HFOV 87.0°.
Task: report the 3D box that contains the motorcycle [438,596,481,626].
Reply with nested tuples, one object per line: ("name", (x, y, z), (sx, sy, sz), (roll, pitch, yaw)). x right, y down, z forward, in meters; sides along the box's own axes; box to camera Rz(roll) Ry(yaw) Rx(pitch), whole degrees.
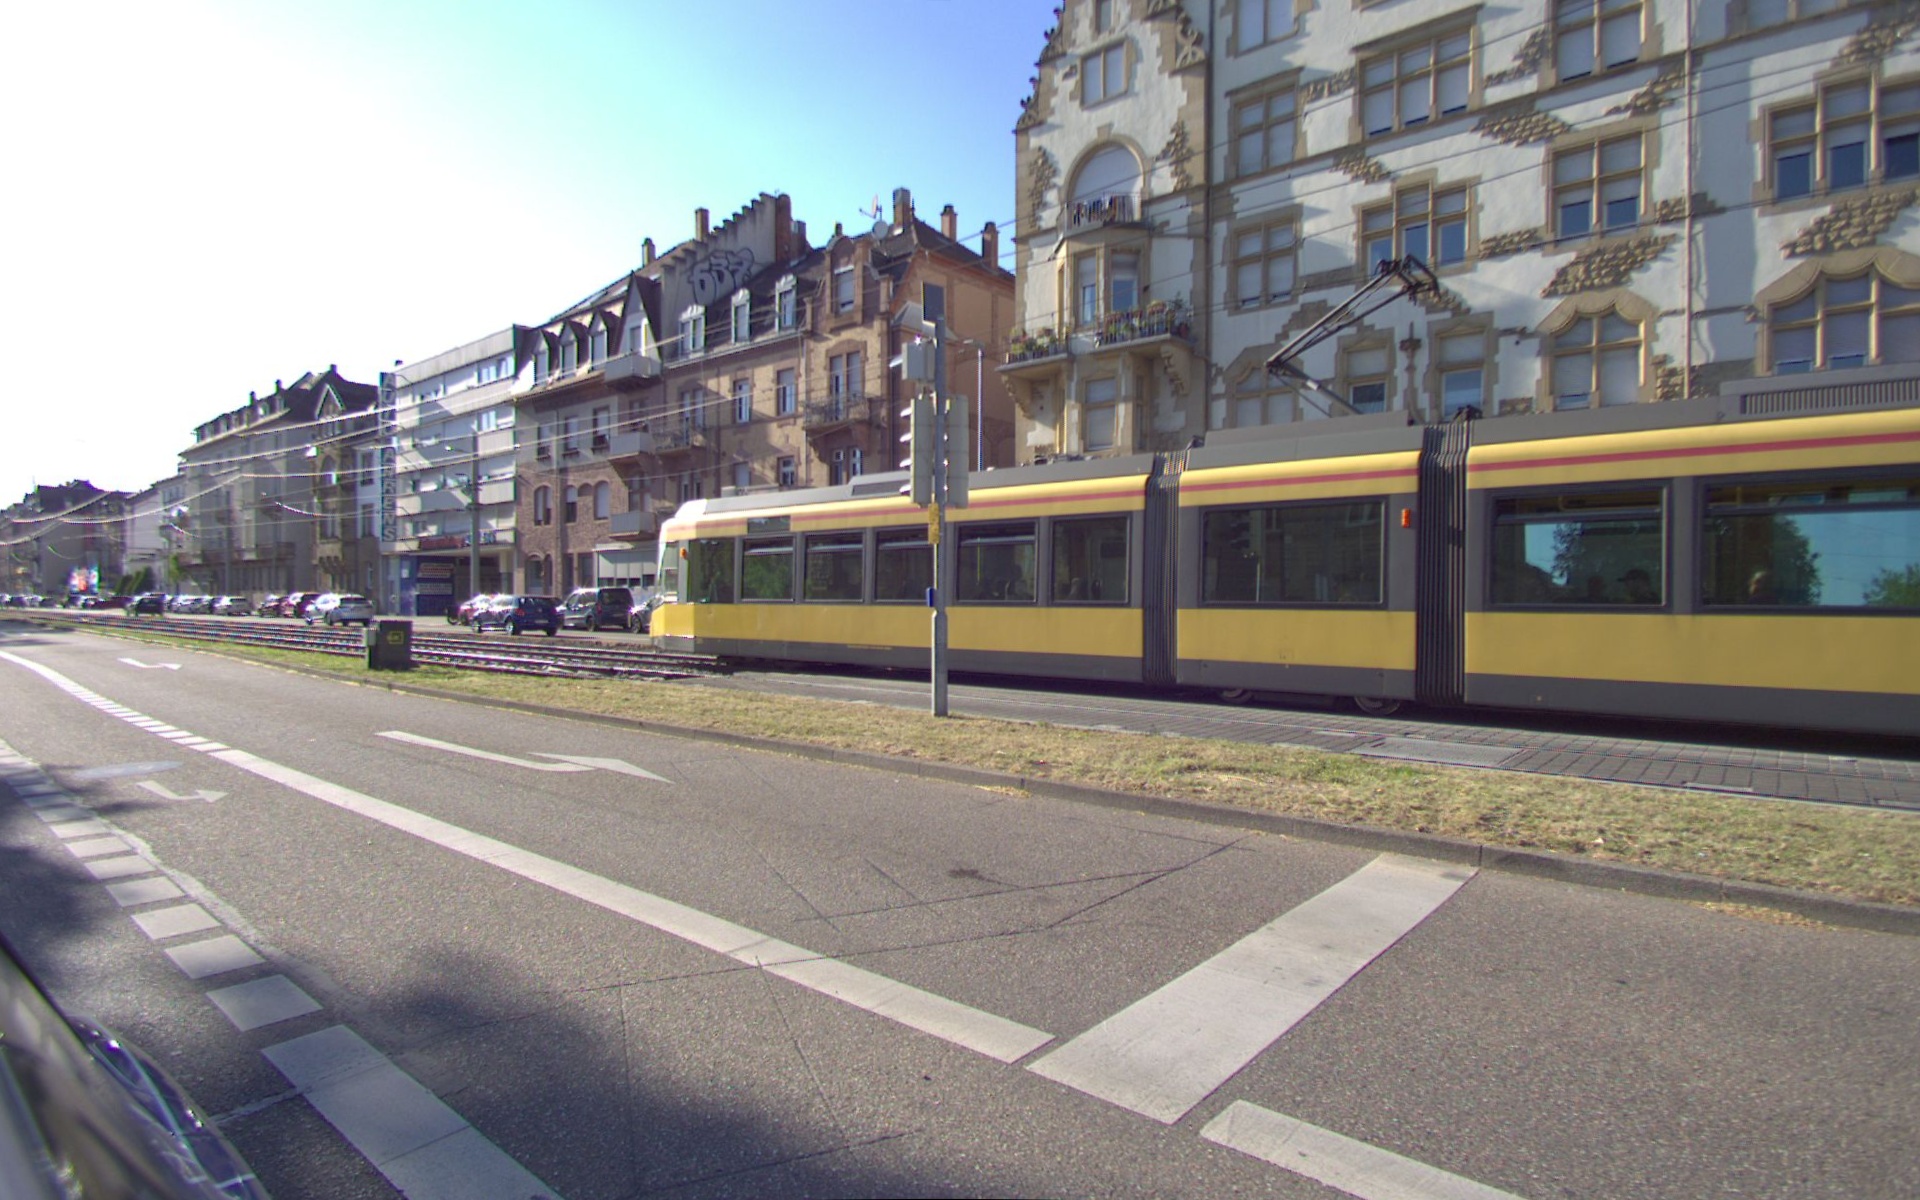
("motorcycle", (-25.585, 0.575, 51.770), (0.628, 1.432, 1.836), (-1, 2, 41))

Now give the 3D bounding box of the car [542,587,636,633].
("car", (-15.607, 0.386, 42.504), (4.418, 1.771, 1.865), (0, 3, 43))

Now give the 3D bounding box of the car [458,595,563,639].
("car", (-15.956, 0.572, 35.854), (4.154, 1.468, 1.801), (0, 0, 40))

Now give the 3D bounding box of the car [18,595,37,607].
("car", (-130.923, 0.143, 142.054), (3.448, 1.602, 1.603), (0, 2, 41))

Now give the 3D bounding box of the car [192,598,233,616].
("car", (-60.823, 0.550, 82.304), (3.819, 1.441, 1.780), (0, 2, 39))

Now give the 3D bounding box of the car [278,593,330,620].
("car", (-43.962, 0.445, 67.769), (4.261, 1.700, 1.837), (0, 2, 42))

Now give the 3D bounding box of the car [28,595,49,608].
("car", (-124.203, 0.170, 136.370), (3.448, 1.602, 1.603), (0, 2, 41))

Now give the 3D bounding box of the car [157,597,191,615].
("car", (-71.999, 0.538, 92.711), (3.821, 1.490, 1.779), (0, 2, 41))

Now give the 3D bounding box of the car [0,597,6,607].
("car", (-157.123, 0.355, 165.227), (3.448, 1.602, 1.603), (0, 2, 41))

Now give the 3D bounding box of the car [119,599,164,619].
("car", (-60.176, 0.644, 74.405), (4.162, 1.468, 1.801), (0, 0, 40))

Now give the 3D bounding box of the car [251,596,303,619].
("car", (-47.968, 0.527, 71.060), (3.721, 1.507, 1.736), (0, 2, 35))

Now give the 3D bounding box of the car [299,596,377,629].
("car", (-29.211, 0.558, 47.477), (4.537, 1.468, 1.801), (0, 0, 40))

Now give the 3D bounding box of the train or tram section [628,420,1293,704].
("train or tram section", (-1.066, -0.475, 17.914), (13.196, 3.515, 2.784), (0, 0, 41))

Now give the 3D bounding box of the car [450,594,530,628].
("car", (-22.858, 0.515, 49.157), (4.207, 1.510, 1.838), (0, 3, 40))

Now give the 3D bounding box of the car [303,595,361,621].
("car", (-39.833, 0.494, 64.168), (4.378, 1.510, 1.838), (0, 2, 40))

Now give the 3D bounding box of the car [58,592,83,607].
("car", (-108.162, -0.045, 123.020), (3.878, 1.800, 1.705), (0, 2, 41))

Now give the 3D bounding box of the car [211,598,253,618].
("car", (-56.787, 0.630, 78.907), (3.821, 1.490, 1.779), (0, 2, 41))

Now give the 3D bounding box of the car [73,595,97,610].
("car", (-100.694, 0.258, 116.457), (3.386, 1.583, 1.663), (0, 2, 41))

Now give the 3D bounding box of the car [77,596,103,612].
("car", (-97.034, 0.445, 112.866), (3.406, 1.644, 1.656), (0, 2, 41))

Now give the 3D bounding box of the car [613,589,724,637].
("car", (-11.236, 0.474, 38.823), (4.499, 1.634, 1.838), (0, 3, 40))

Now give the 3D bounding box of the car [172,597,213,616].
("car", (-64.311, 0.542, 84.770), (3.530, 1.457, 1.624), (0, 1, 34))

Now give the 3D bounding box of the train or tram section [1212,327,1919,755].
("train or tram section", (8.989, -0.486, 9.202), (13.196, 3.515, 2.784), (0, 0, 41))
